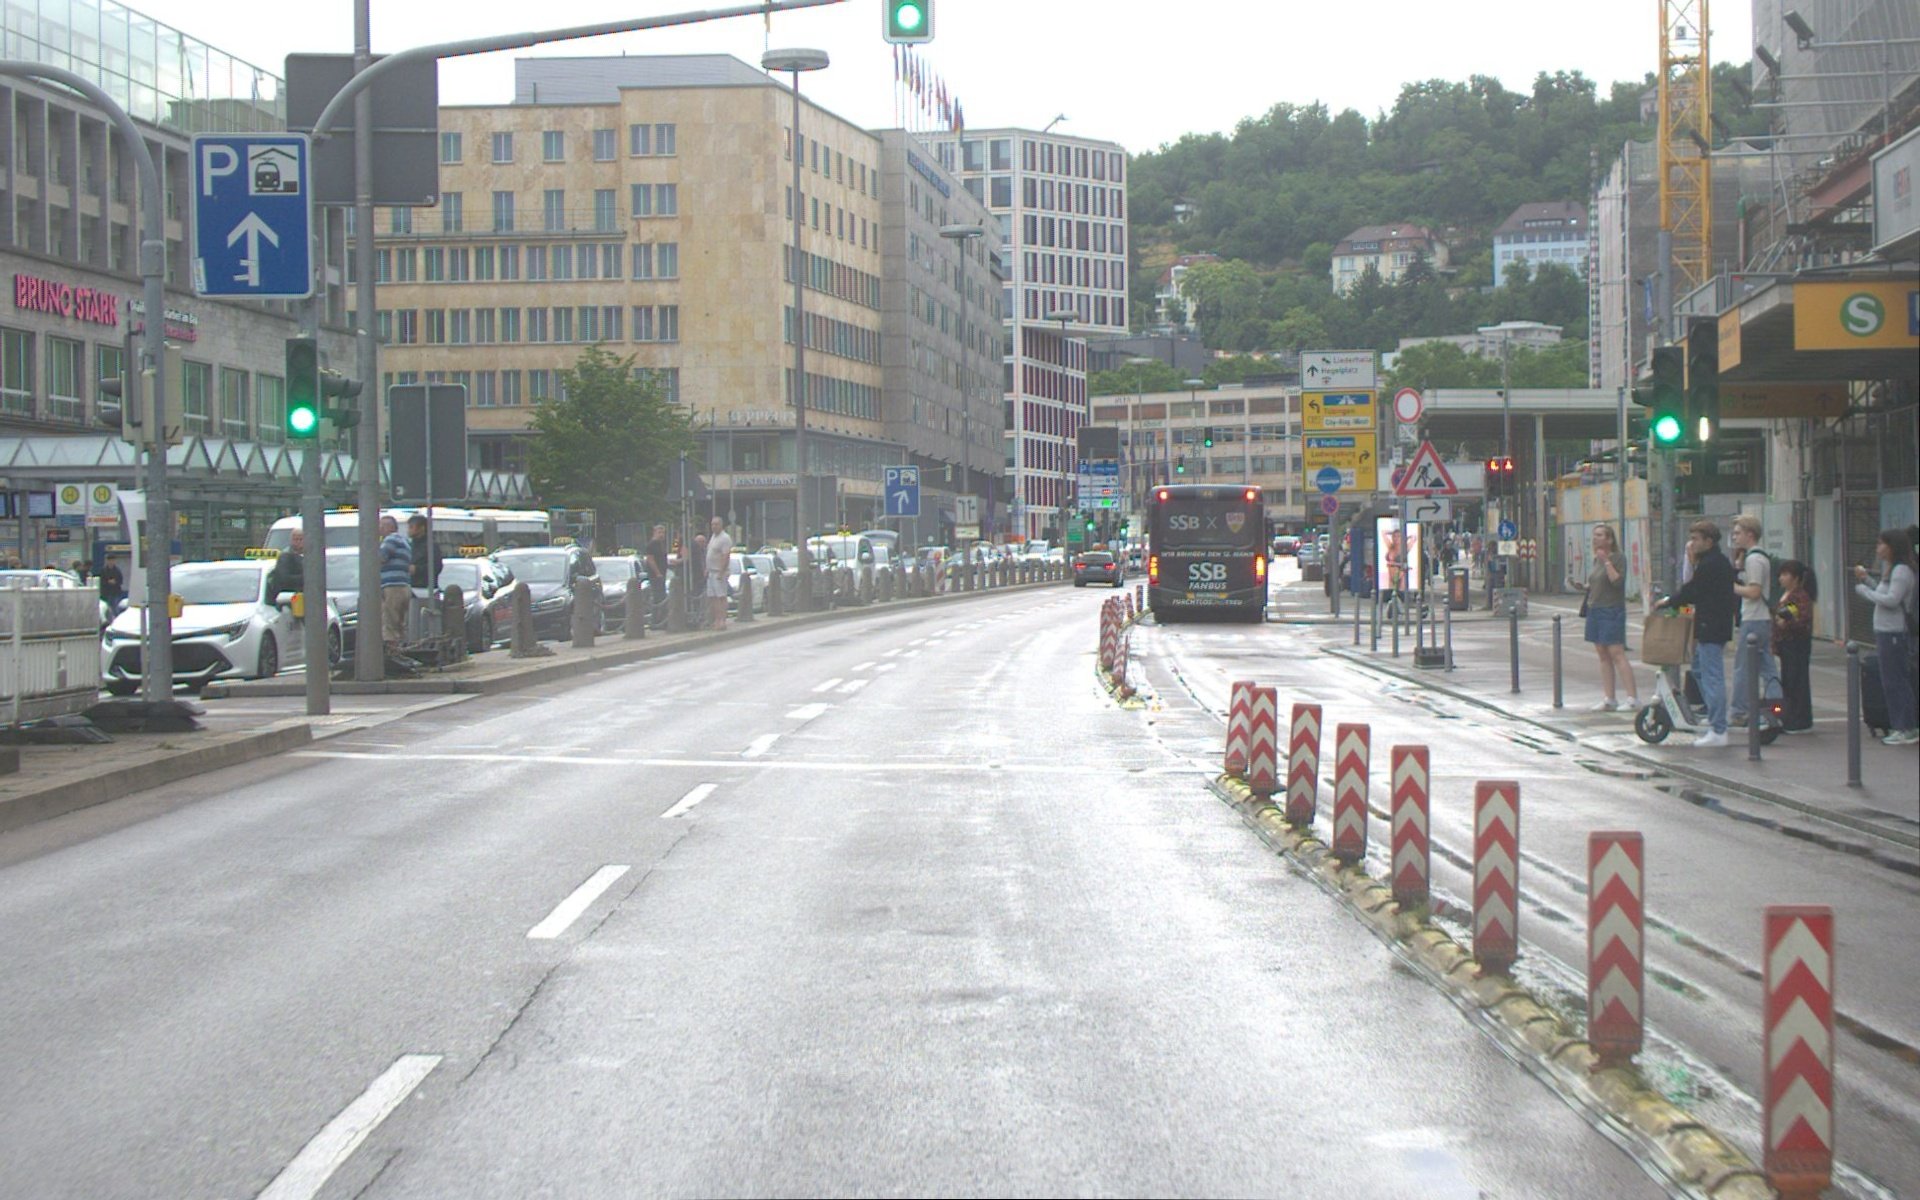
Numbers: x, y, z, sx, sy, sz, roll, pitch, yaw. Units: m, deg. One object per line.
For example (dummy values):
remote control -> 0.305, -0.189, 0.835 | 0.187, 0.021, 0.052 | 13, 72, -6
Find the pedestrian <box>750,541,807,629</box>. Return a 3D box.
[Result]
pedestrian -> -3.646, -0.305, 69.051 | 1.050, 1.762, 0.616 | -1, 1, 4

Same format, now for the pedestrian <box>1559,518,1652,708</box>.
pedestrian -> 6.129, 0.119, 32.653 | 0.558, 1.753, 0.752 | -4, 1, -9

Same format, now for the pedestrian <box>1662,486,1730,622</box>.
pedestrian -> 10.305, -0.653, 48.160 | 0.723, 1.841, 0.810 | -3, 1, 5

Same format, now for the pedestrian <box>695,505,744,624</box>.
pedestrian -> -4.070, -0.605, 58.187 | 0.723, 2.001, 0.772 | 1, 2, 5

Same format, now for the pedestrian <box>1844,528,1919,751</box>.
pedestrian -> 7.103, 0.293, 26.171 | 0.558, 1.645, 0.614 | -3, 1, 6

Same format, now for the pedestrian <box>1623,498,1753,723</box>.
pedestrian -> 5.744, 0.072, 27.137 | 0.580, 1.735, 0.822 | -2, 2, -38

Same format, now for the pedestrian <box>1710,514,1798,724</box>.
pedestrian -> 6.800, 0.156, 29.467 | 0.558, 1.746, 0.711 | -3, 1, 6

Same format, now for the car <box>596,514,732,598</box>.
car -> -5.928, -0.908, 69.380 | 1.930, 1.571, 5.012 | -2, 1, 4

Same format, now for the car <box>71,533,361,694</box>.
car -> -8.254, 0.093, 38.632 | 2.015, 1.615, 4.842 | -1, 2, 2

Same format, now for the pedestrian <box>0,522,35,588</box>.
pedestrian -> -20.007, -0.956, 72.803 | 0.704, 1.388, 0.704 | 0, 2, -25

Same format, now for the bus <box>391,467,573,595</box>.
bus -> -13.640, -2.030, 99.126 | 2.878, 3.447, 10.573 | -1, 2, 5

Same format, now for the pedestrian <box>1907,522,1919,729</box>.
pedestrian -> 7.837, 0.197, 27.118 | 0.564, 1.645, 0.614 | -3, 1, 9

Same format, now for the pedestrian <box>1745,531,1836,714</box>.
pedestrian -> 6.802, 0.176, 28.172 | 0.558, 1.444, 0.711 | -3, 1, 6

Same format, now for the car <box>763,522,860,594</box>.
car -> -3.956, -1.153, 92.292 | 1.930, 1.800, 4.581 | -2, 1, 6

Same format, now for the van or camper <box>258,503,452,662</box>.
van or camper -> -10.370, -0.359, 59.321 | 1.994, 2.505, 5.370 | -3, 1, 3

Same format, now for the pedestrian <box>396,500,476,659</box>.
pedestrian -> -6.019, -0.235, 39.504 | 0.781, 1.769, 0.607 | -4, 1, -7

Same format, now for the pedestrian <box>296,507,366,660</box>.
pedestrian -> -7.094, -0.192, 38.779 | 0.651, 1.705, 0.593 | 1, 2, 3

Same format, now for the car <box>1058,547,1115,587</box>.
car -> 5.183, -1.352, 140.051 | 1.994, 1.546, 3.999 | -1, 1, 6

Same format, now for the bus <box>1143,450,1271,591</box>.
bus -> 5.791, -1.823, 79.438 | 2.756, 3.058, 9.079 | 1, 1, 5

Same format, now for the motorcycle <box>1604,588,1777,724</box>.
motorcycle -> 5.758, 0.428, 27.134 | 0.584, 1.018, 1.239 | -2, 2, -38

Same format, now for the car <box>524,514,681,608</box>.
car -> -6.482, -0.733, 62.887 | 1.930, 1.571, 5.260 | -2, 1, 4

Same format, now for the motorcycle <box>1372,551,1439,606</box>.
motorcycle -> 9.537, -0.471, 73.570 | 0.586, 1.162, 1.613 | 2, 2, 44

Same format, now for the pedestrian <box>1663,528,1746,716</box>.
pedestrian -> 6.711, 0.188, 30.998 | 0.558, 1.635, 0.752 | -3, 1, 6

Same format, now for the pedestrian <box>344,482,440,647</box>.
pedestrian -> -6.273, -0.390, 37.978 | 0.559, 1.769, 0.750 | -2, 2, 39

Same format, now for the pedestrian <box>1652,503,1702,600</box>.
pedestrian -> 11.639, -0.791, 55.814 | 0.651, 1.534, 0.665 | -3, 1, 6

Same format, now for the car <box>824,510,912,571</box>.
car -> -2.743, -1.811, 103.507 | 1.994, 1.716, 4.781 | -1, 2, 6

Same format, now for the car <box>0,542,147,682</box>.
car -> -11.822, 0.108, 43.883 | 1.814, 1.605, 4.044 | 1, 2, 2

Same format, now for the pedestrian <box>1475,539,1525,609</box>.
pedestrian -> 12.773, -0.613, 81.322 | 0.908, 1.629, 0.827 | 0, 1, 32

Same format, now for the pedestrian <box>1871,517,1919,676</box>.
pedestrian -> 10.087, -0.047, 36.505 | 0.549, 1.626, 0.995 | -3, 1, 5

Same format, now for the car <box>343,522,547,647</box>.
car -> -7.516, -0.270, 50.616 | 1.930, 1.684, 4.682 | -2, 1, 4

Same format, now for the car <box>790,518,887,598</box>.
car -> -3.433, -1.226, 98.198 | 1.994, 2.171, 5.543 | -1, 2, 6

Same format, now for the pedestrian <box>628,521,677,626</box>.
pedestrian -> -5.211, -0.451, 58.276 | 0.698, 1.748, 0.711 | -1, 2, 5

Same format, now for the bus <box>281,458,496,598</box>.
bus -> -14.565, -1.884, 88.579 | 2.878, 3.365, 10.573 | -1, 2, 5

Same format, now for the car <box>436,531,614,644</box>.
car -> -7.029, -0.245, 56.002 | 1.930, 1.684, 4.682 | -2, 1, 4

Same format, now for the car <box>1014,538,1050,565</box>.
car -> 4.685, -3.195, 223.814 | 1.962, 1.559, 4.835 | -3, 2, 5

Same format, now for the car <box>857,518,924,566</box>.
car -> -2.345, -1.985, 116.419 | 1.994, 1.546, 4.000 | -1, 1, 3

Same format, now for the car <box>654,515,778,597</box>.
car -> -5.311, -0.987, 75.500 | 1.976, 1.653, 5.192 | -2, 1, 4

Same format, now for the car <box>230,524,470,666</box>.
car -> -7.879, -0.109, 44.855 | 1.930, 1.684, 4.682 | -2, 1, 4

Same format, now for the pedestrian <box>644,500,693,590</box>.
pedestrian -> -5.248, -0.999, 61.959 | 0.723, 1.601, 0.996 | 1, 2, 4
